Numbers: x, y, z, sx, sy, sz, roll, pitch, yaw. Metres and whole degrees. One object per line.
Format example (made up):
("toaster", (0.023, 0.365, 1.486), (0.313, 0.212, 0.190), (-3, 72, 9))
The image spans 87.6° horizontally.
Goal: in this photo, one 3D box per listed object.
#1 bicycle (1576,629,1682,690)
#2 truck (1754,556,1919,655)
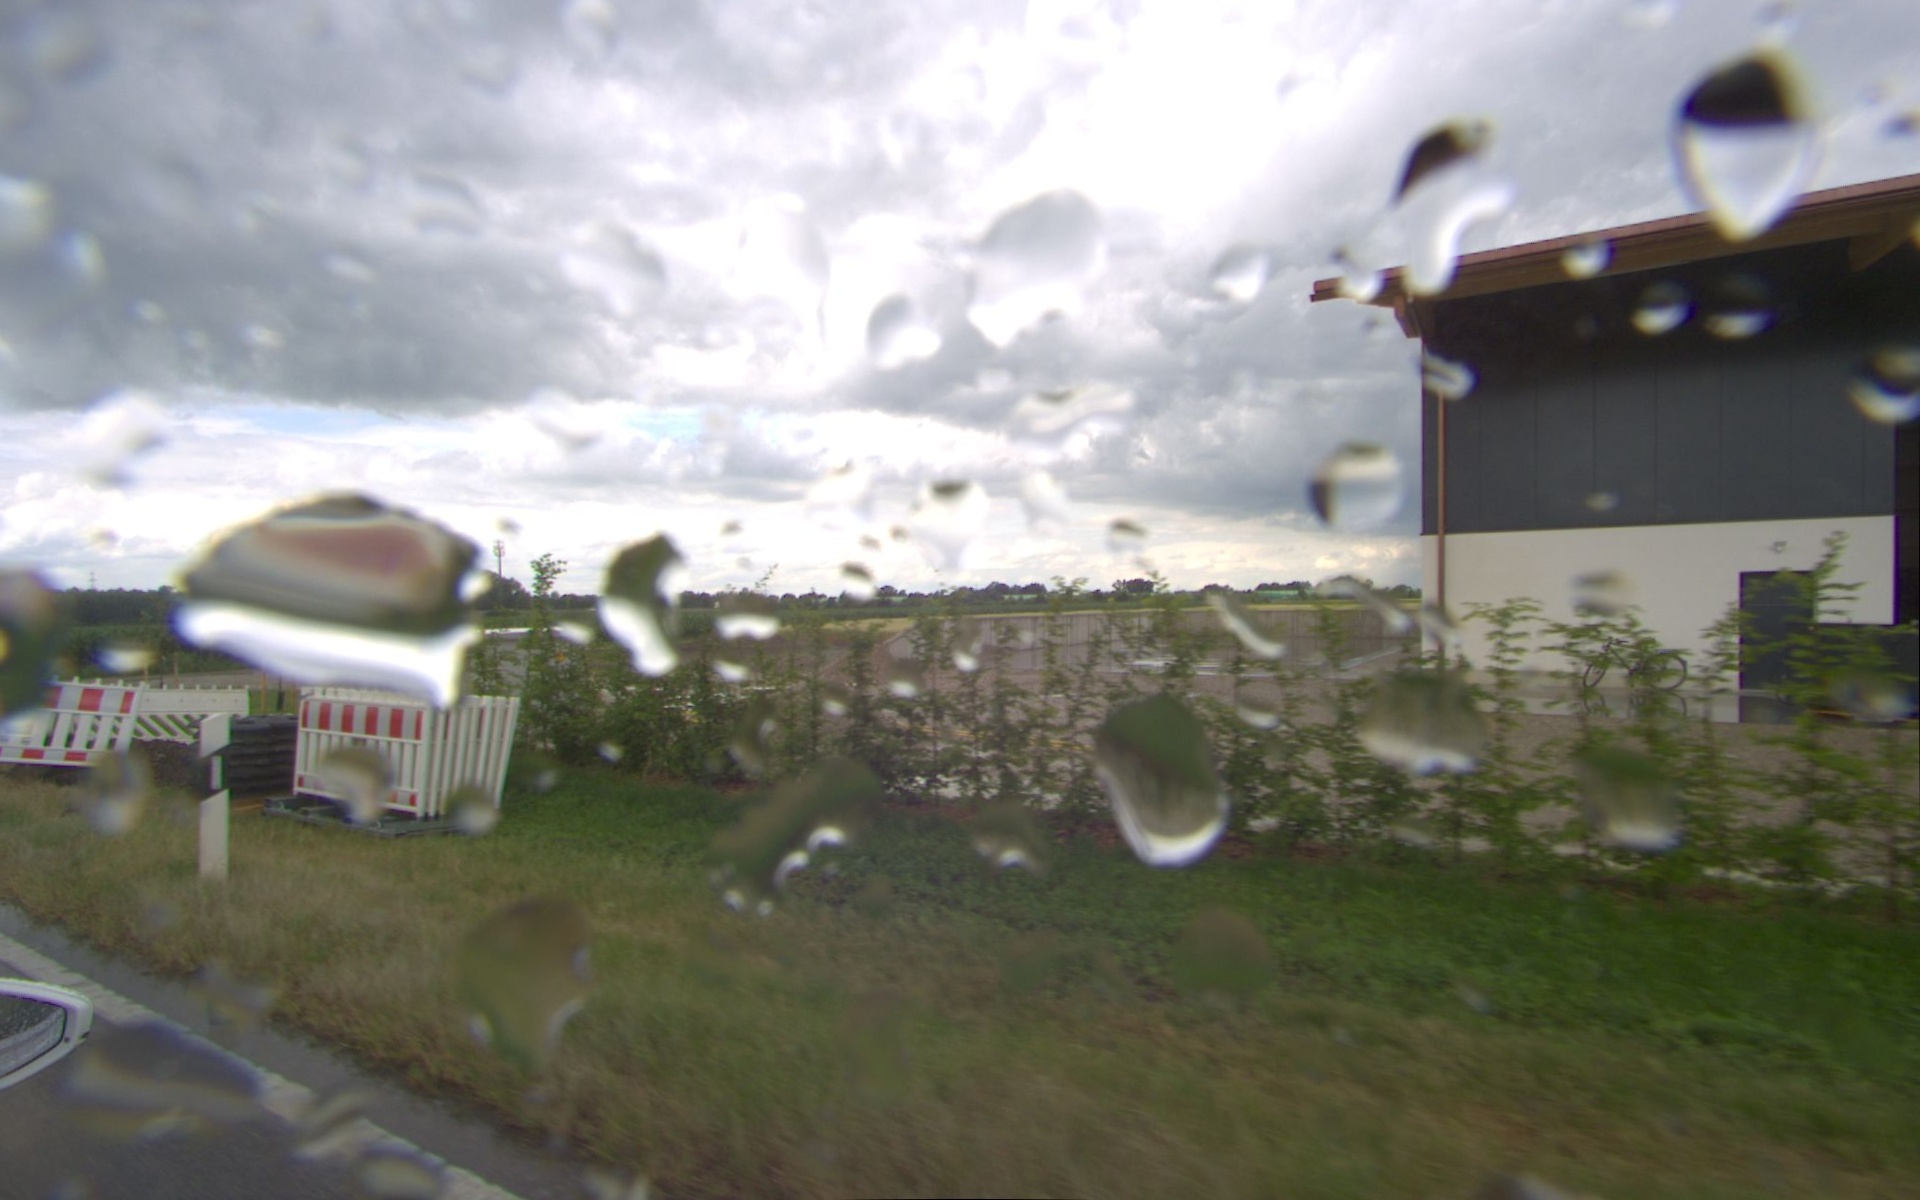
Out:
("bicycle", (12.592, 1.105, 18.894), (1.637, 1.086, 0.389), (-1, 1, 33))
("truck", (25.894, 0.139, 27.600), (6.069, 2.642, 2.112), (-1, 0, 33))
